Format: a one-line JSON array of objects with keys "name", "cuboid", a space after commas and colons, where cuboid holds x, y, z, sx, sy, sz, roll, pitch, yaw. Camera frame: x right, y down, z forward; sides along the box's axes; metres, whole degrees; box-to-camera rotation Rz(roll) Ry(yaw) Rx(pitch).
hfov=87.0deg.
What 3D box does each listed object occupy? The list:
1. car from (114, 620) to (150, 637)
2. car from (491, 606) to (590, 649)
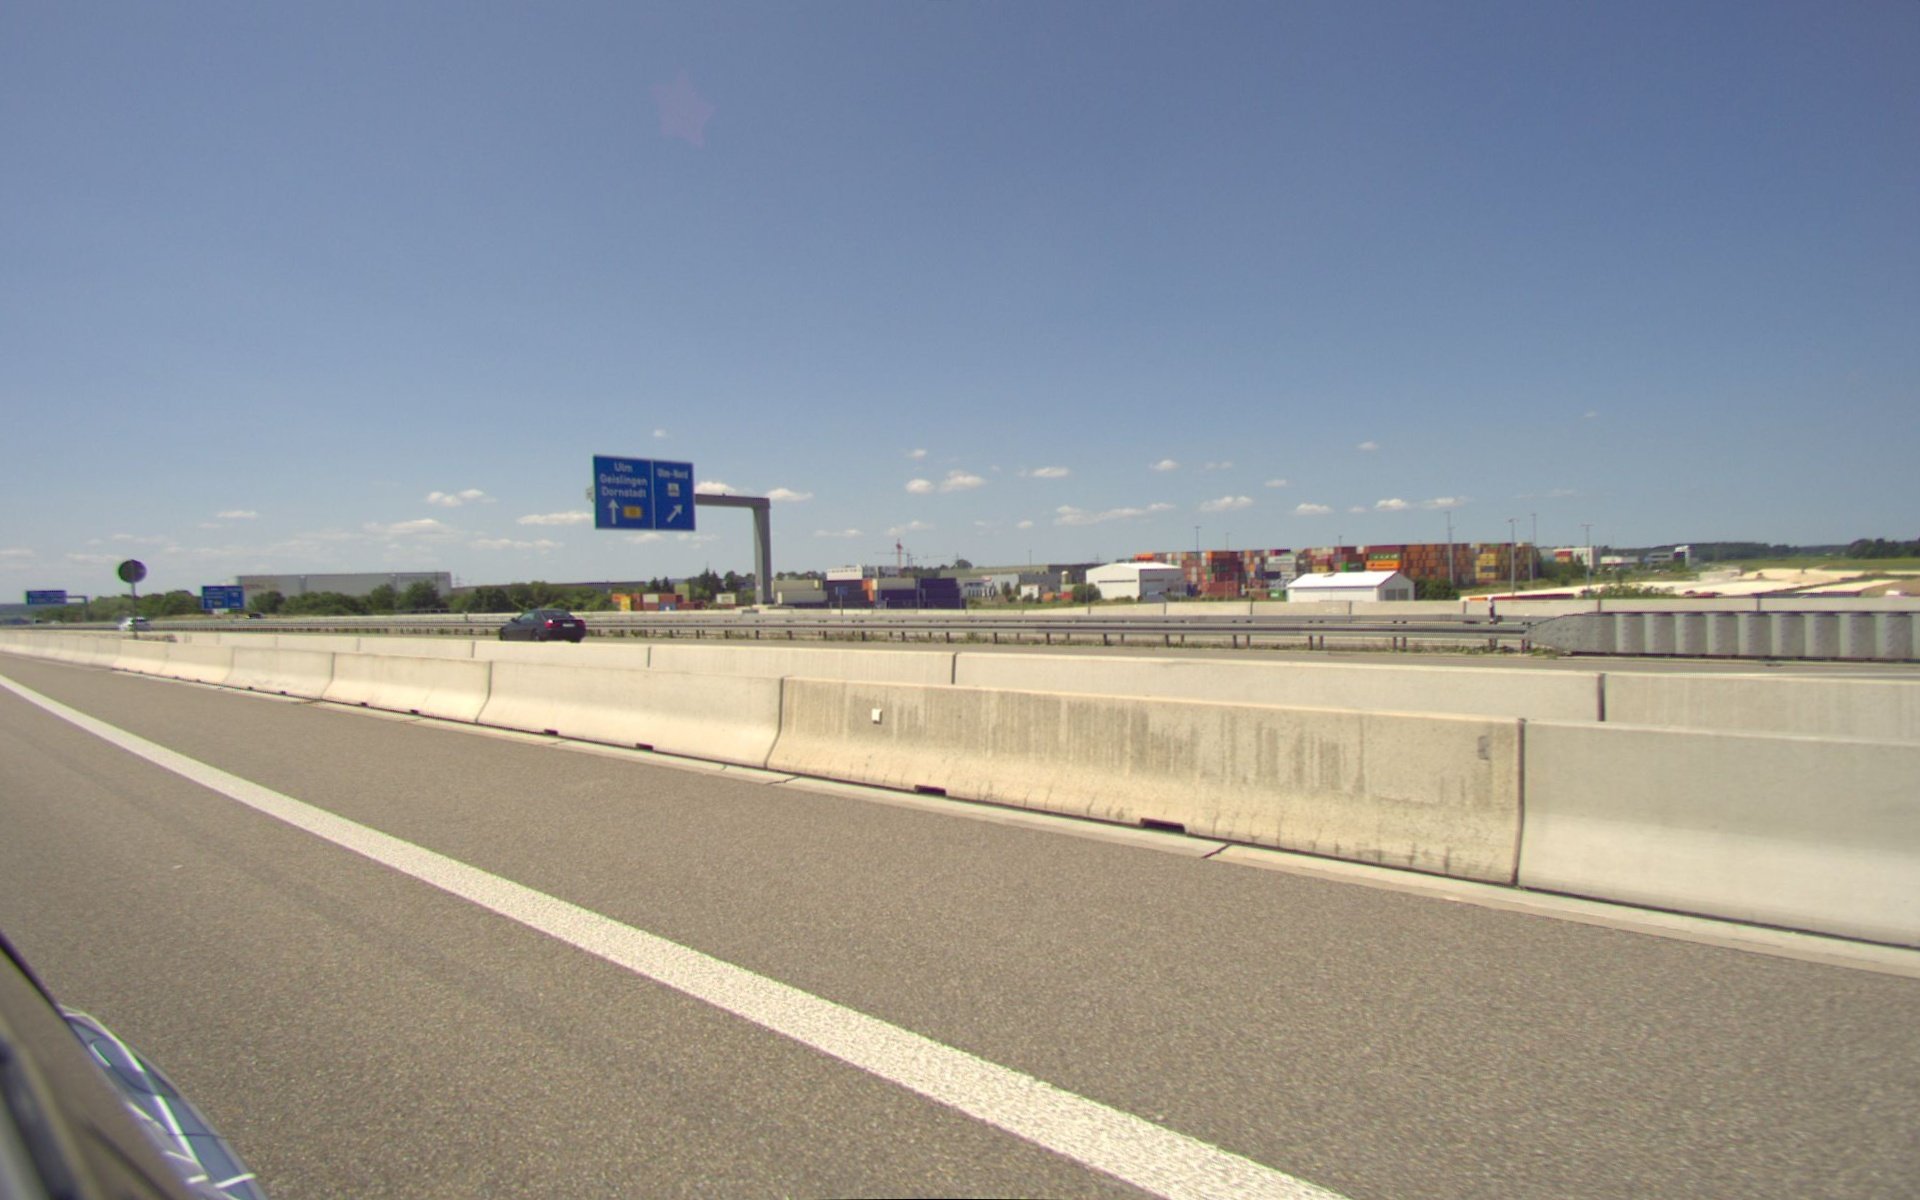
[{"name": "car", "cuboid": [-73.643, 2.535, 89.982, 4.440, 1.446, 1.790, -2, 0, 41]}, {"name": "car", "cuboid": [-16.324, 1.048, 39.263, 4.546, 1.548, 1.714, -2, 0, 41]}]
